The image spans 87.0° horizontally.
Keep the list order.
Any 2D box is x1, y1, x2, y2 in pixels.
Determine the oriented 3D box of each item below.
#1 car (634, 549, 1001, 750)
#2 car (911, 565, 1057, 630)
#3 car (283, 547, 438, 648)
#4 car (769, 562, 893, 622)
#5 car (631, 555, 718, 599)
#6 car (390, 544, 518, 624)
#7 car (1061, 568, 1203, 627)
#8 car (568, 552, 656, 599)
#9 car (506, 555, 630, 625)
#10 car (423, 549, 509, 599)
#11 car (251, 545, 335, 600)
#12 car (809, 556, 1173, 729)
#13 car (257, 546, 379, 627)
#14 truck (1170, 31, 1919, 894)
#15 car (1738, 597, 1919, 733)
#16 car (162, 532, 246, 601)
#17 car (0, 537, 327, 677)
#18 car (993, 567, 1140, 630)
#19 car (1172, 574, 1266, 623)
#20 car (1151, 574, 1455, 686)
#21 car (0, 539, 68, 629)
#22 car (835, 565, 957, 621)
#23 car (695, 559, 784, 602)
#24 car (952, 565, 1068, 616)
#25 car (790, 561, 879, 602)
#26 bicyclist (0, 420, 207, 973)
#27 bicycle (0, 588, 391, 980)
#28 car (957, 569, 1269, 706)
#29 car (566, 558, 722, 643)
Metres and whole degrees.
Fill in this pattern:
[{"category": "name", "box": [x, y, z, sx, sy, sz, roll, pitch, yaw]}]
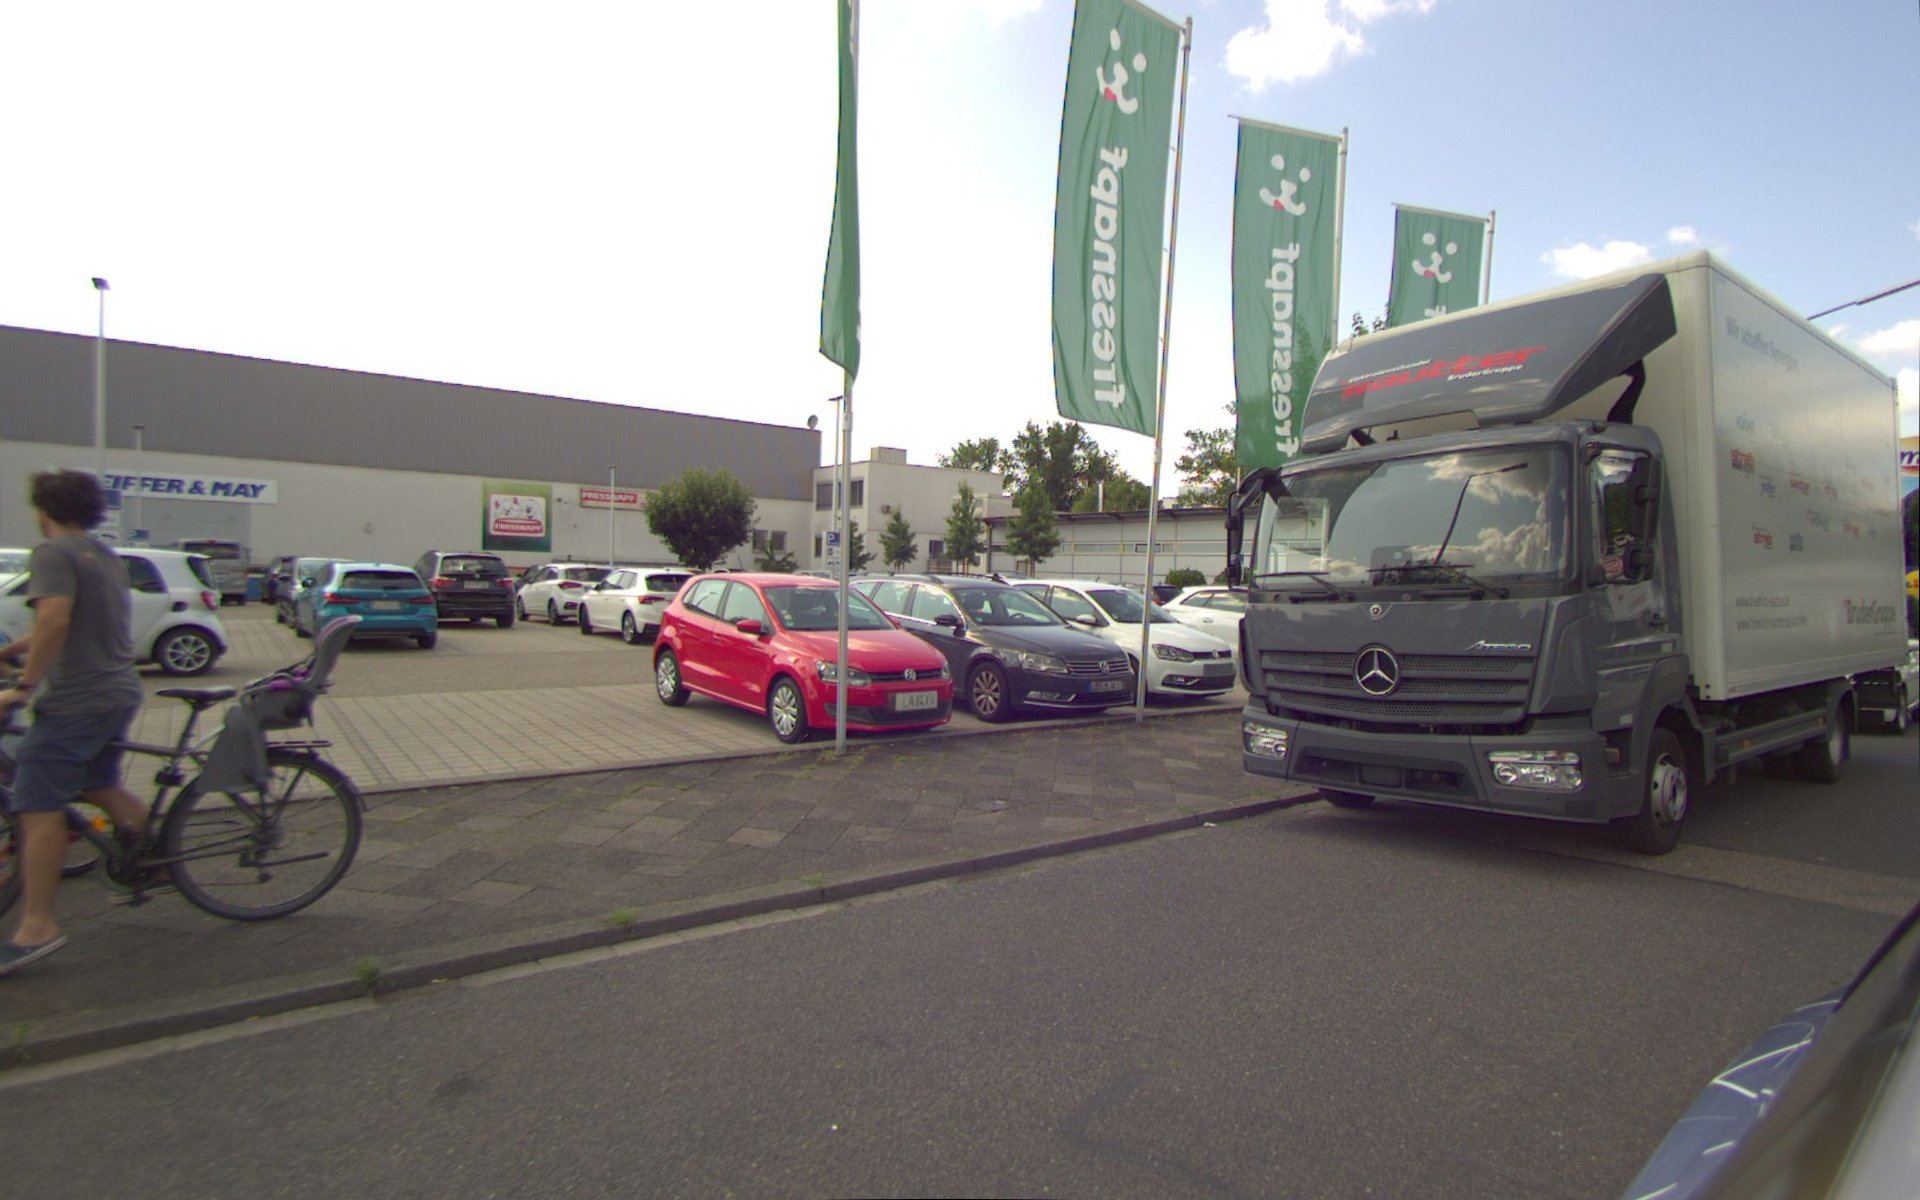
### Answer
[{"category": "car", "box": [-1.580, 0.328, 10.110, 1.719, 1.541, 3.890, 0, 3, -42]}, {"category": "car", "box": [0.569, -0.105, 26.930, 1.694, 1.502, 3.945, 1, 3, -40]}, {"category": "car", "box": [-10.558, -0.120, 17.699, 1.710, 1.502, 3.991, 1, 3, -40]}, {"category": "car", "box": [-3.811, -0.267, 29.424, 1.694, 1.502, 3.945, 1, 3, -40]}, {"category": "car", "box": [-10.924, -0.890, 38.609, 1.694, 1.502, 4.024, 1, 3, -40]}, {"category": "car", "box": [-11.535, -0.412, 22.934, 1.709, 1.597, 4.067, 1, 3, -40]}, {"category": "car", "box": [5.019, -0.099, 29.888, 1.694, 1.502, 3.945, 1, 3, -40]}, {"category": "car", "box": [-12.730, -0.913, 36.861, 1.694, 1.502, 4.015, 1, 3, -40]}, {"category": "car", "box": [-9.798, -0.288, 25.128, 1.694, 1.502, 3.945, 1, 3, -40]}, {"category": "car", "box": [-16.707, -0.908, 34.158, 1.694, 1.502, 4.040, 1, 3, -40]}, {"category": "car", "box": [-20.144, -0.862, 30.500, 1.694, 1.502, 3.932, 1, 3, -40]}, {"category": "car", "box": [0.175, 0.336, 11.818, 1.719, 1.561, 4.293, 0, 3, -42]}, {"category": "car", "box": [-13.811, -0.342, 21.679, 1.694, 1.502, 4.029, 1, 3, -40]}, {"category": "truck", "box": [5.532, -0.647, 8.480, 8.126, 4.169, 2.785, 0, -1, -38]}, {"category": "car", "box": [11.598, 0.751, 13.189, 3.561, 1.531, 1.548, 1, -1, -40]}, {"category": "car", "box": [-21.765, -0.985, 29.077, 1.694, 1.822, 4.075, 1, 3, -40]}, {"category": "car", "box": [-10.172, 0.063, 12.580, 3.687, 1.538, 1.722, 0, 1, -40]}, {"category": "car", "box": [2.865, -0.082, 27.909, 1.694, 1.502, 3.945, 1, 3, -40]}, {"category": "car", "box": [8.960, -0.063, 35.171, 1.617, 1.562, 2.717, 1, 2, -39]}, {"category": "car", "box": [5.534, 0.396, 16.847, 1.825, 1.455, 4.494, 1, 3, -38]}, {"category": "car", "box": [-17.892, -0.355, 18.909, 1.694, 1.502, 4.019, 1, 3, -40]}, {"category": "car", "box": [-2.023, -0.248, 30.920, 1.694, 1.502, 3.945, 1, 3, -40]}, {"category": "car", "box": [-8.751, -0.802, 39.886, 1.694, 1.502, 4.141, 1, 3, -40]}, {"category": "car", "box": [1.645, -0.349, 34.533, 1.694, 1.502, 3.945, 1, 3, -40]}, {"category": "car", "box": [-5.226, -0.769, 41.623, 1.694, 1.502, 4.042, 1, 3, -40]}, {"category": "bicyclist", "box": [-3.433, 0.311, 3.905, 0.813, 1.933, 0.798, 0, 5, -35]}, {"category": "bicycle", "box": [-3.358, 0.644, 3.997, 1.847, 1.310, 0.795, 0, 5, -36]}, {"category": "car", "box": [1.912, 0.385, 13.544, 1.719, 1.450, 3.890, 0, 3, -42]}, {"category": "car", "box": [-6.613, -0.057, 20.916, 1.694, 1.502, 3.945, 1, 3, -40]}]
